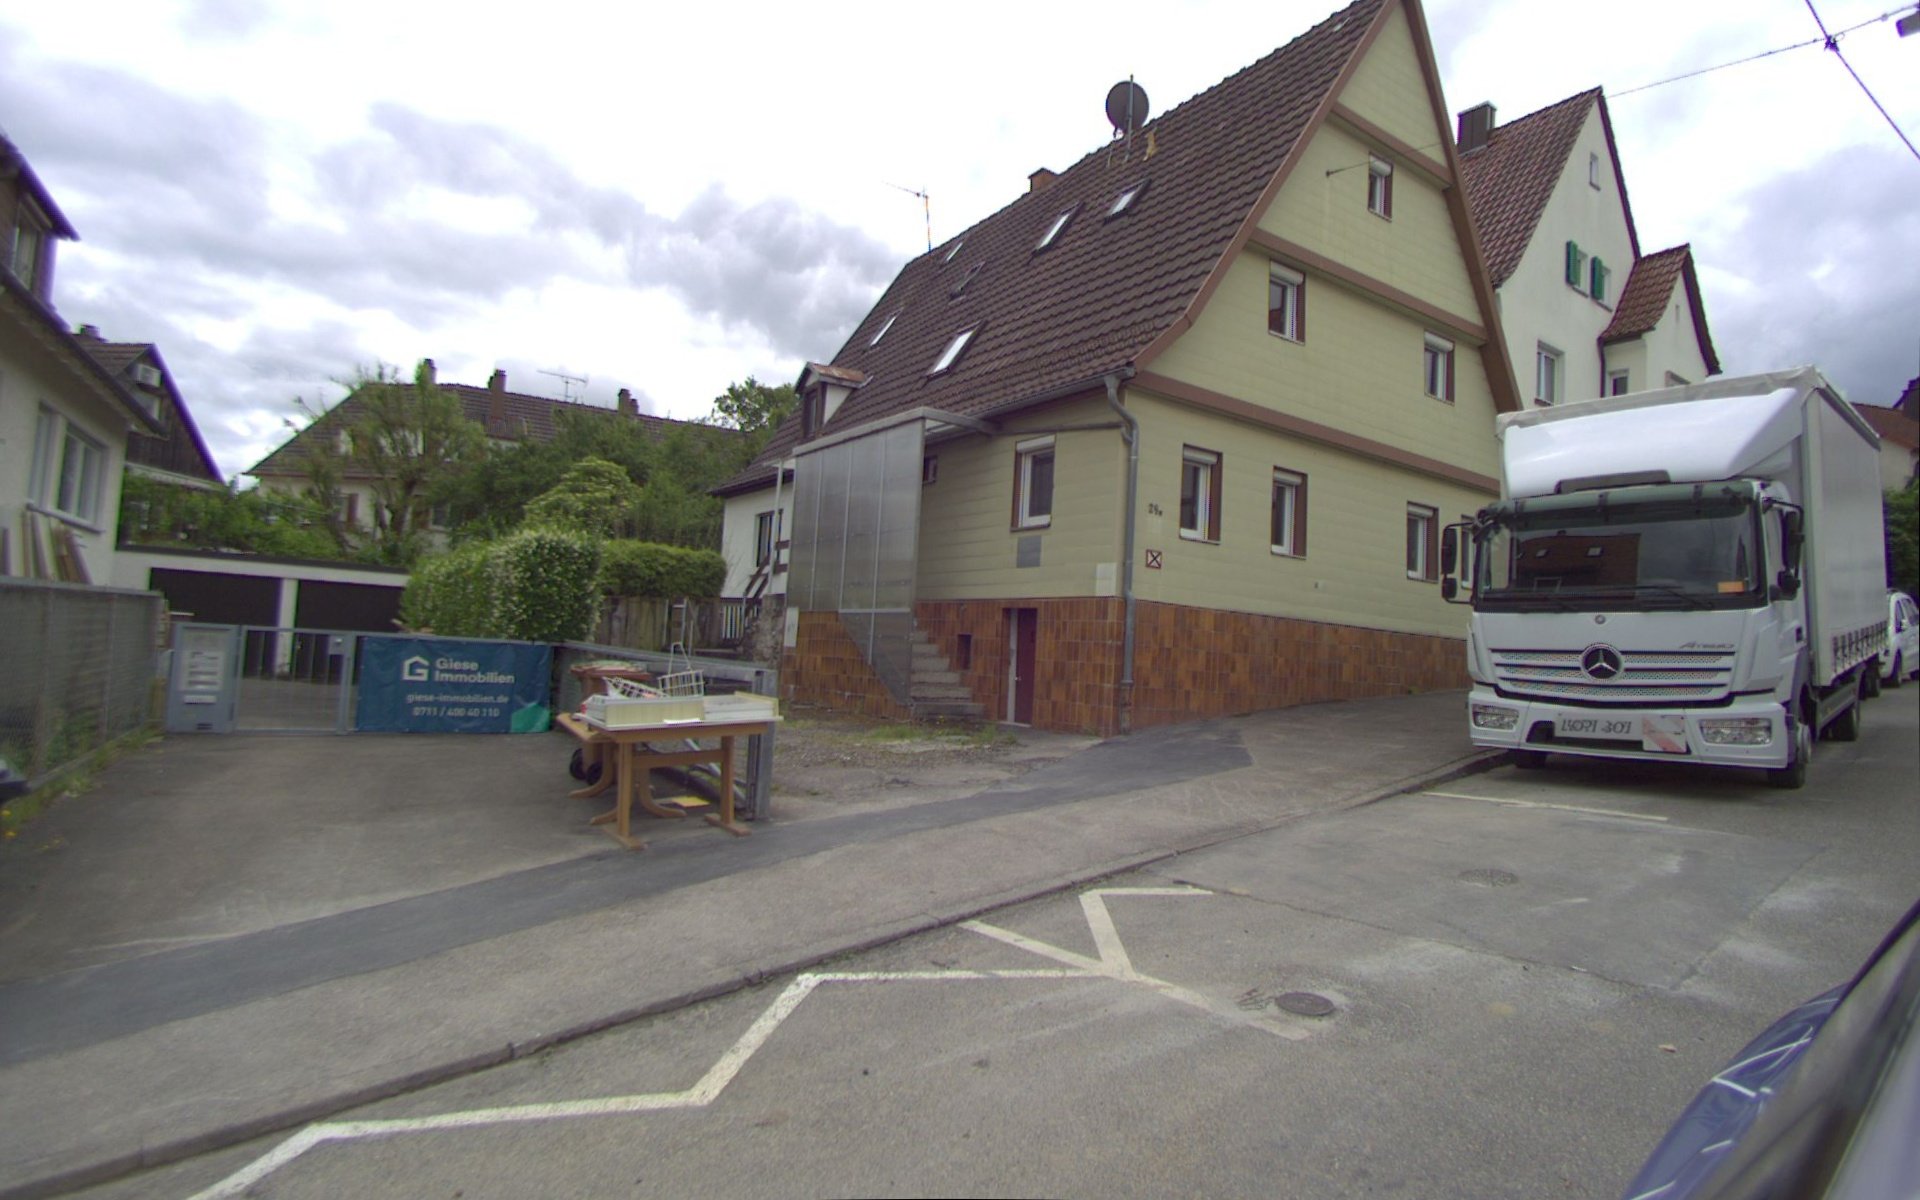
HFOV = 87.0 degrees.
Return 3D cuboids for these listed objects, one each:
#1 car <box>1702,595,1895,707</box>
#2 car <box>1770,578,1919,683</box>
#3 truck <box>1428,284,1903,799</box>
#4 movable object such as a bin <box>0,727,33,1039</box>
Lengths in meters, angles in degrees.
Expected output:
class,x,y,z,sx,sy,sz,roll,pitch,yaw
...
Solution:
class,x,y,z,sx,sy,sz,roll,pitch,yaw
car,13.385,0.735,16.084,3.981,1.525,1.735,-1,-2,-42
car,17.577,0.568,19.733,4.226,1.838,1.839,0,-3,-39
truck,8.014,-0.395,10.903,7.970,3.643,2.678,0,-1,-44
movable object such as a bin,-3.370,0.932,3.267,0.532,0.928,0.465,0,3,-41
